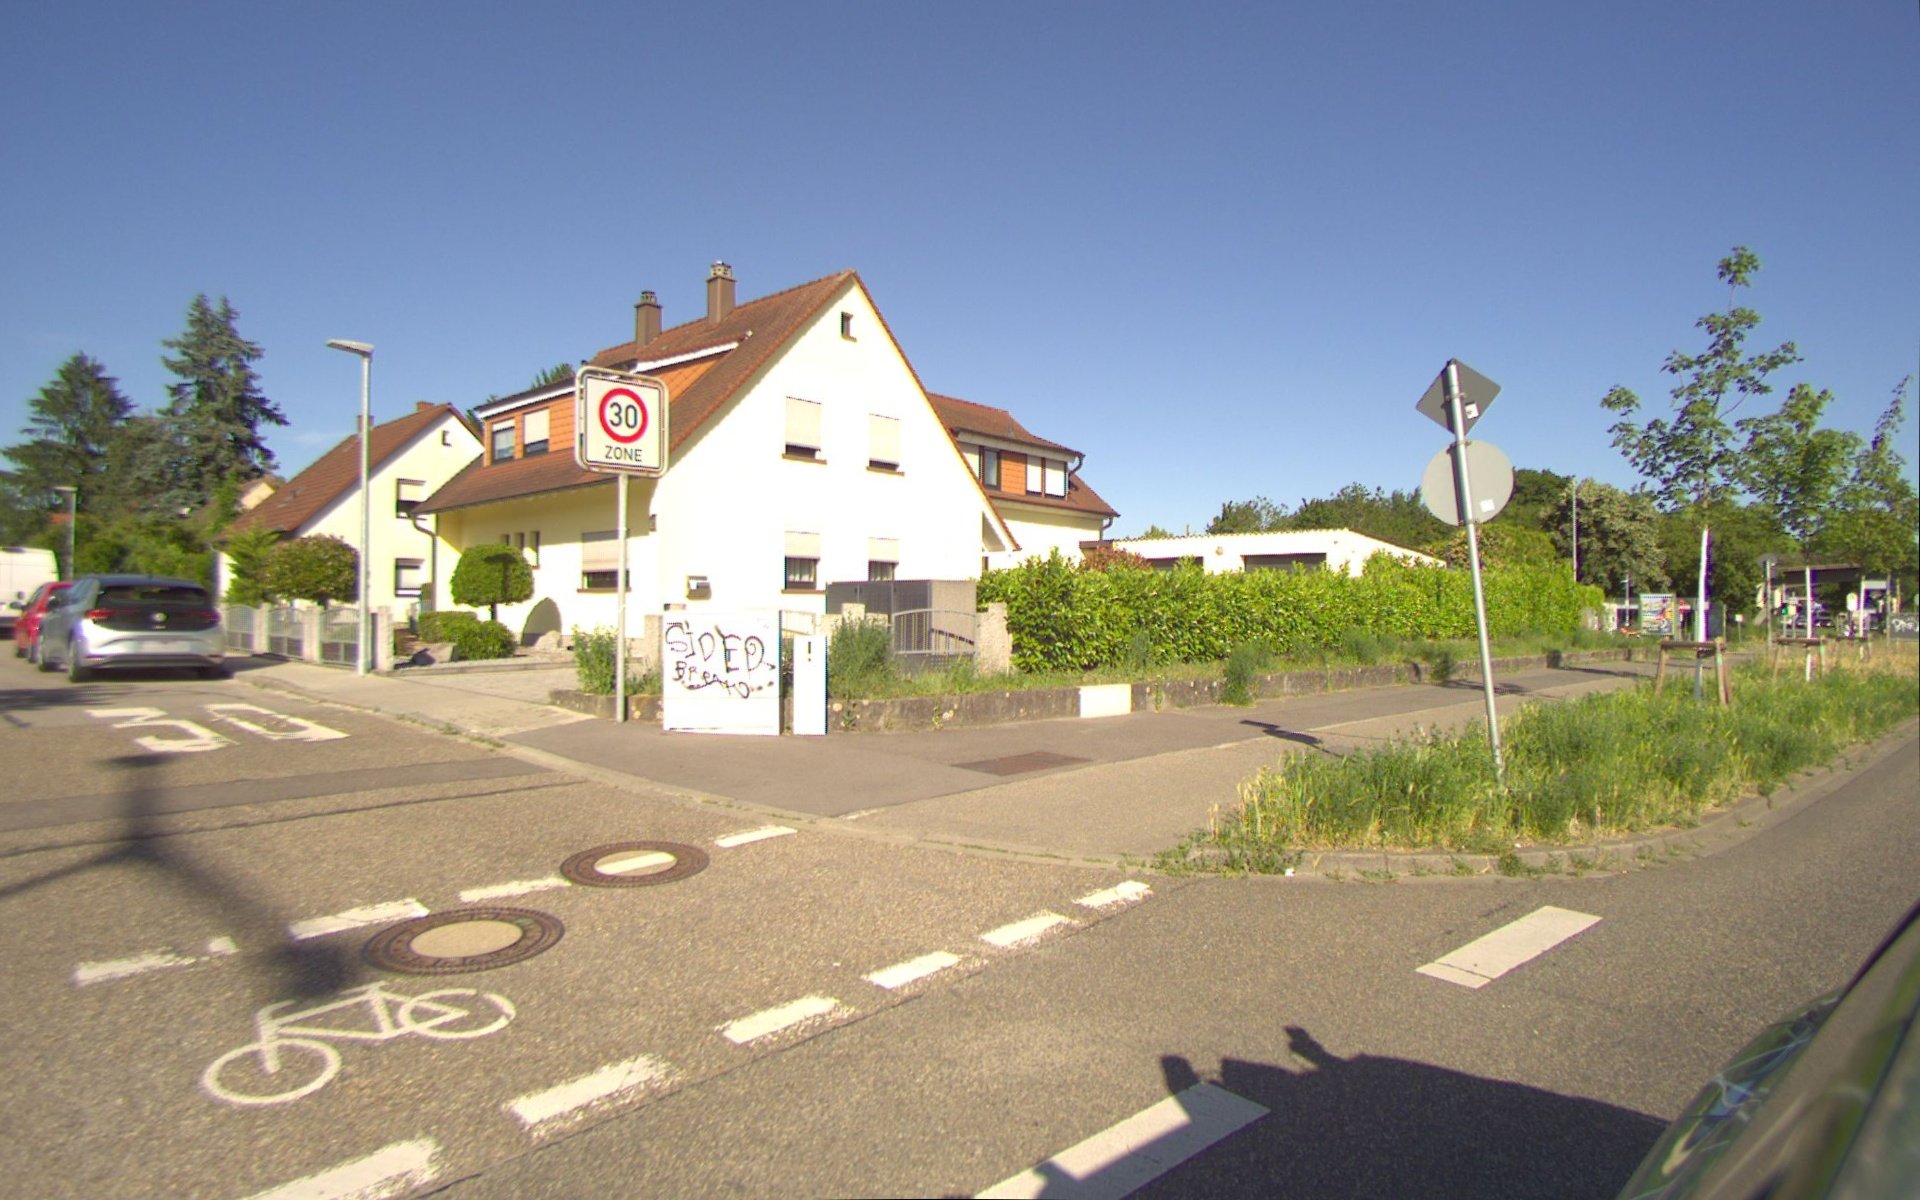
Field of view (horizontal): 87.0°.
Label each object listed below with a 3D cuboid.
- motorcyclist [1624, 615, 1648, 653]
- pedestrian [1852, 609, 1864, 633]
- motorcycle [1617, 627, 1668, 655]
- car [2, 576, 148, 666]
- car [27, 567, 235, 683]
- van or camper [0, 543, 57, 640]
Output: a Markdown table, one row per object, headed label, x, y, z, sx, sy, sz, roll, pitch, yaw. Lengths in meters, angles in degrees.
| label | x | y | z | sx | sy | sz | roll | pitch | yaw |
| --- | --- | --- | --- | --- | --- | --- | --- | --- | --- |
| motorcyclist | 28.716 | 1.427 | 42.987 | 0.688 | 1.577 | 0.694 | 1 | -1 | -42 |
| pedestrian | 62.689 | 1.443 | 70.629 | 0.587 | 1.683 | 0.706 | 0 | -1 | 39 |
| motorcycle | 28.871 | 1.723 | 42.829 | 0.443 | 1.085 | 1.759 | 1 | -1 | -41 |
| car | -17.125 | 0.372 | 19.526 | 3.985 | 1.549 | 1.694 | 0 | -1 | 43 |
| car | -12.814 | 0.345 | 15.568 | 3.983 | 1.549 | 1.808 | 0 | -1 | 41 |
| van or camper | -27.077 | -0.236 | 28.487 | 4.891 | 2.546 | 1.969 | 0 | 0 | 42 |
